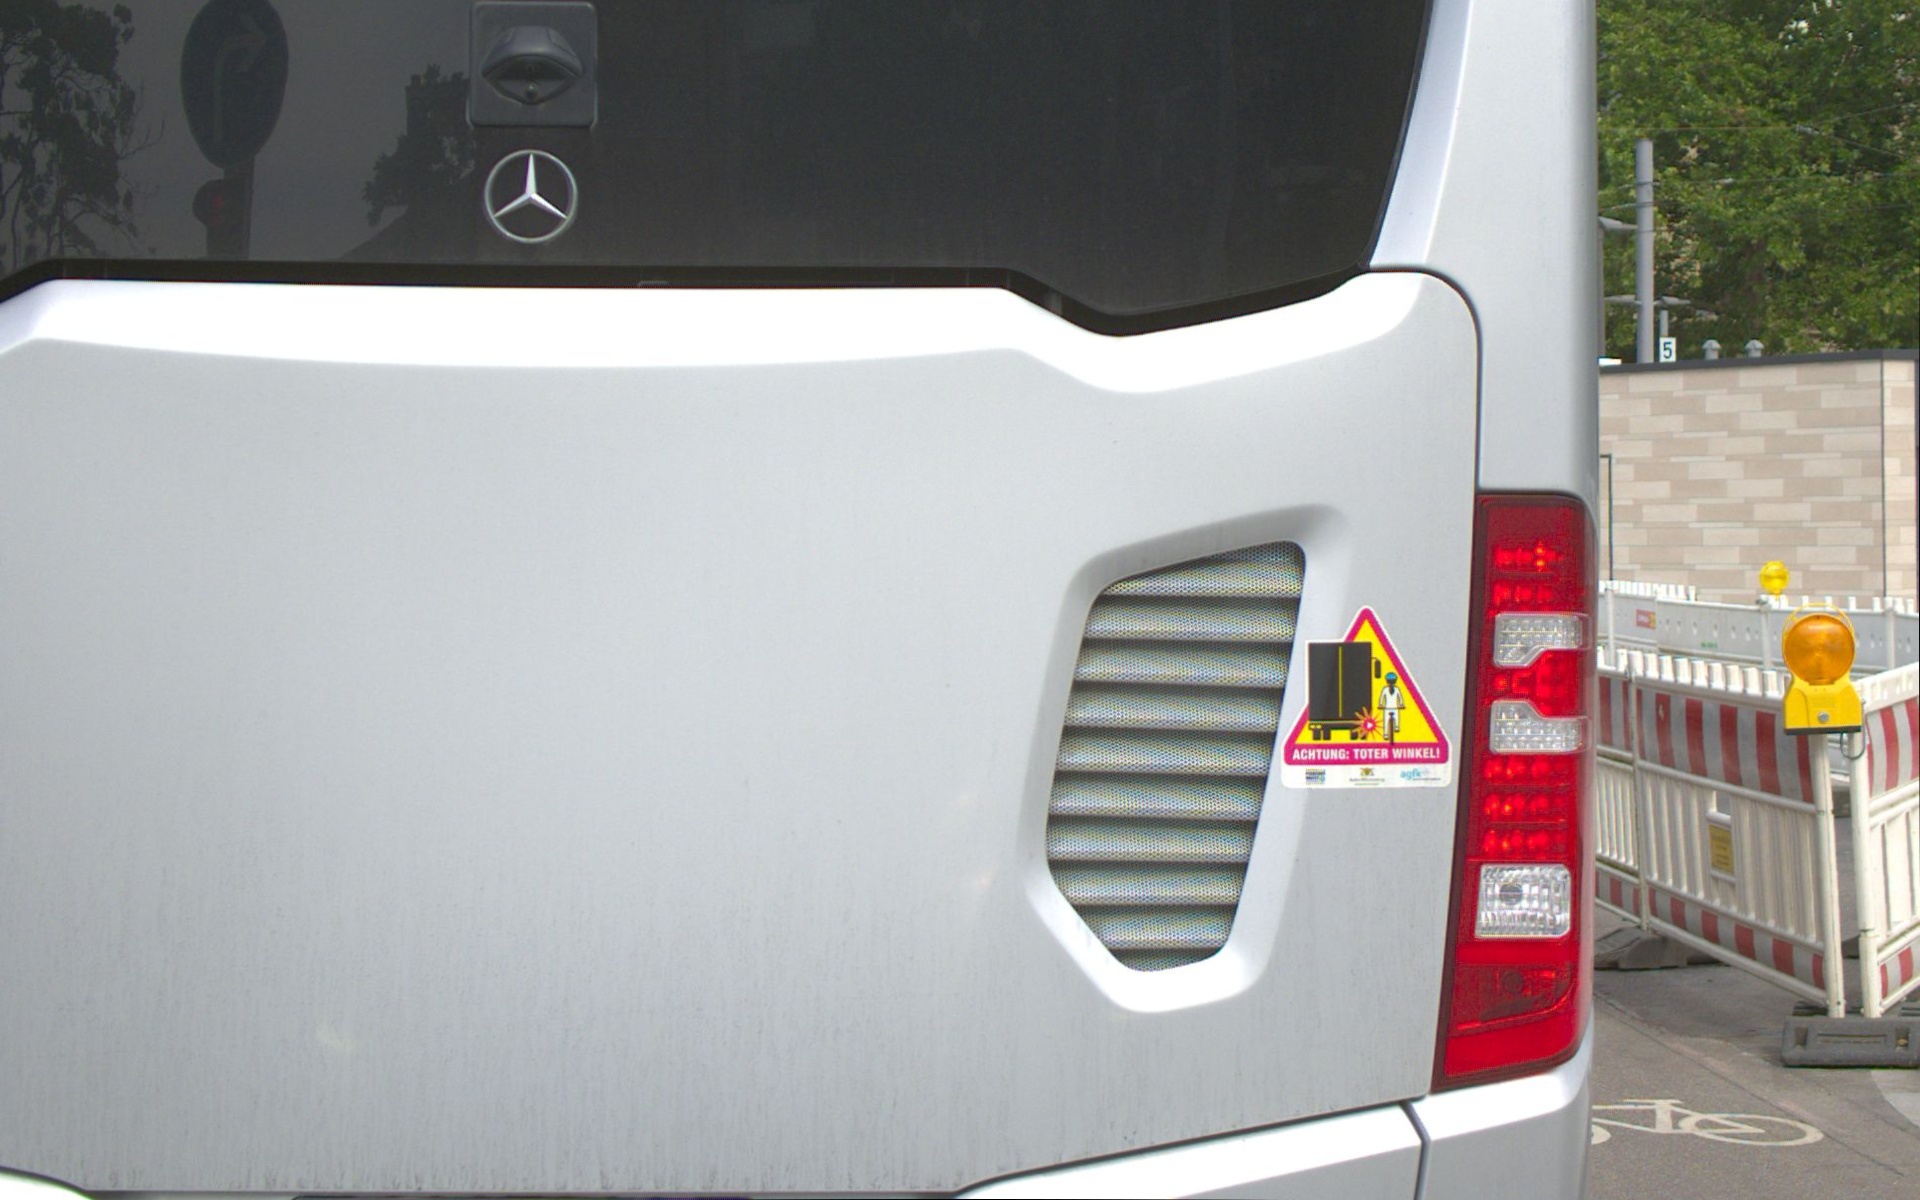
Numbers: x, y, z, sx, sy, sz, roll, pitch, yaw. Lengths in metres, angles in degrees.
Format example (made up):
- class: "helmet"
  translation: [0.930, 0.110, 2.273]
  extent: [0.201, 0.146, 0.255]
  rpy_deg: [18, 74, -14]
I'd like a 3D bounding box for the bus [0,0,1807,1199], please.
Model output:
- class: "bus"
  translation: [-0.486, -0.479, 10.467]
  extent: [2.704, 3.426, 14.184]
  rpy_deg: [0, 1, 0]
